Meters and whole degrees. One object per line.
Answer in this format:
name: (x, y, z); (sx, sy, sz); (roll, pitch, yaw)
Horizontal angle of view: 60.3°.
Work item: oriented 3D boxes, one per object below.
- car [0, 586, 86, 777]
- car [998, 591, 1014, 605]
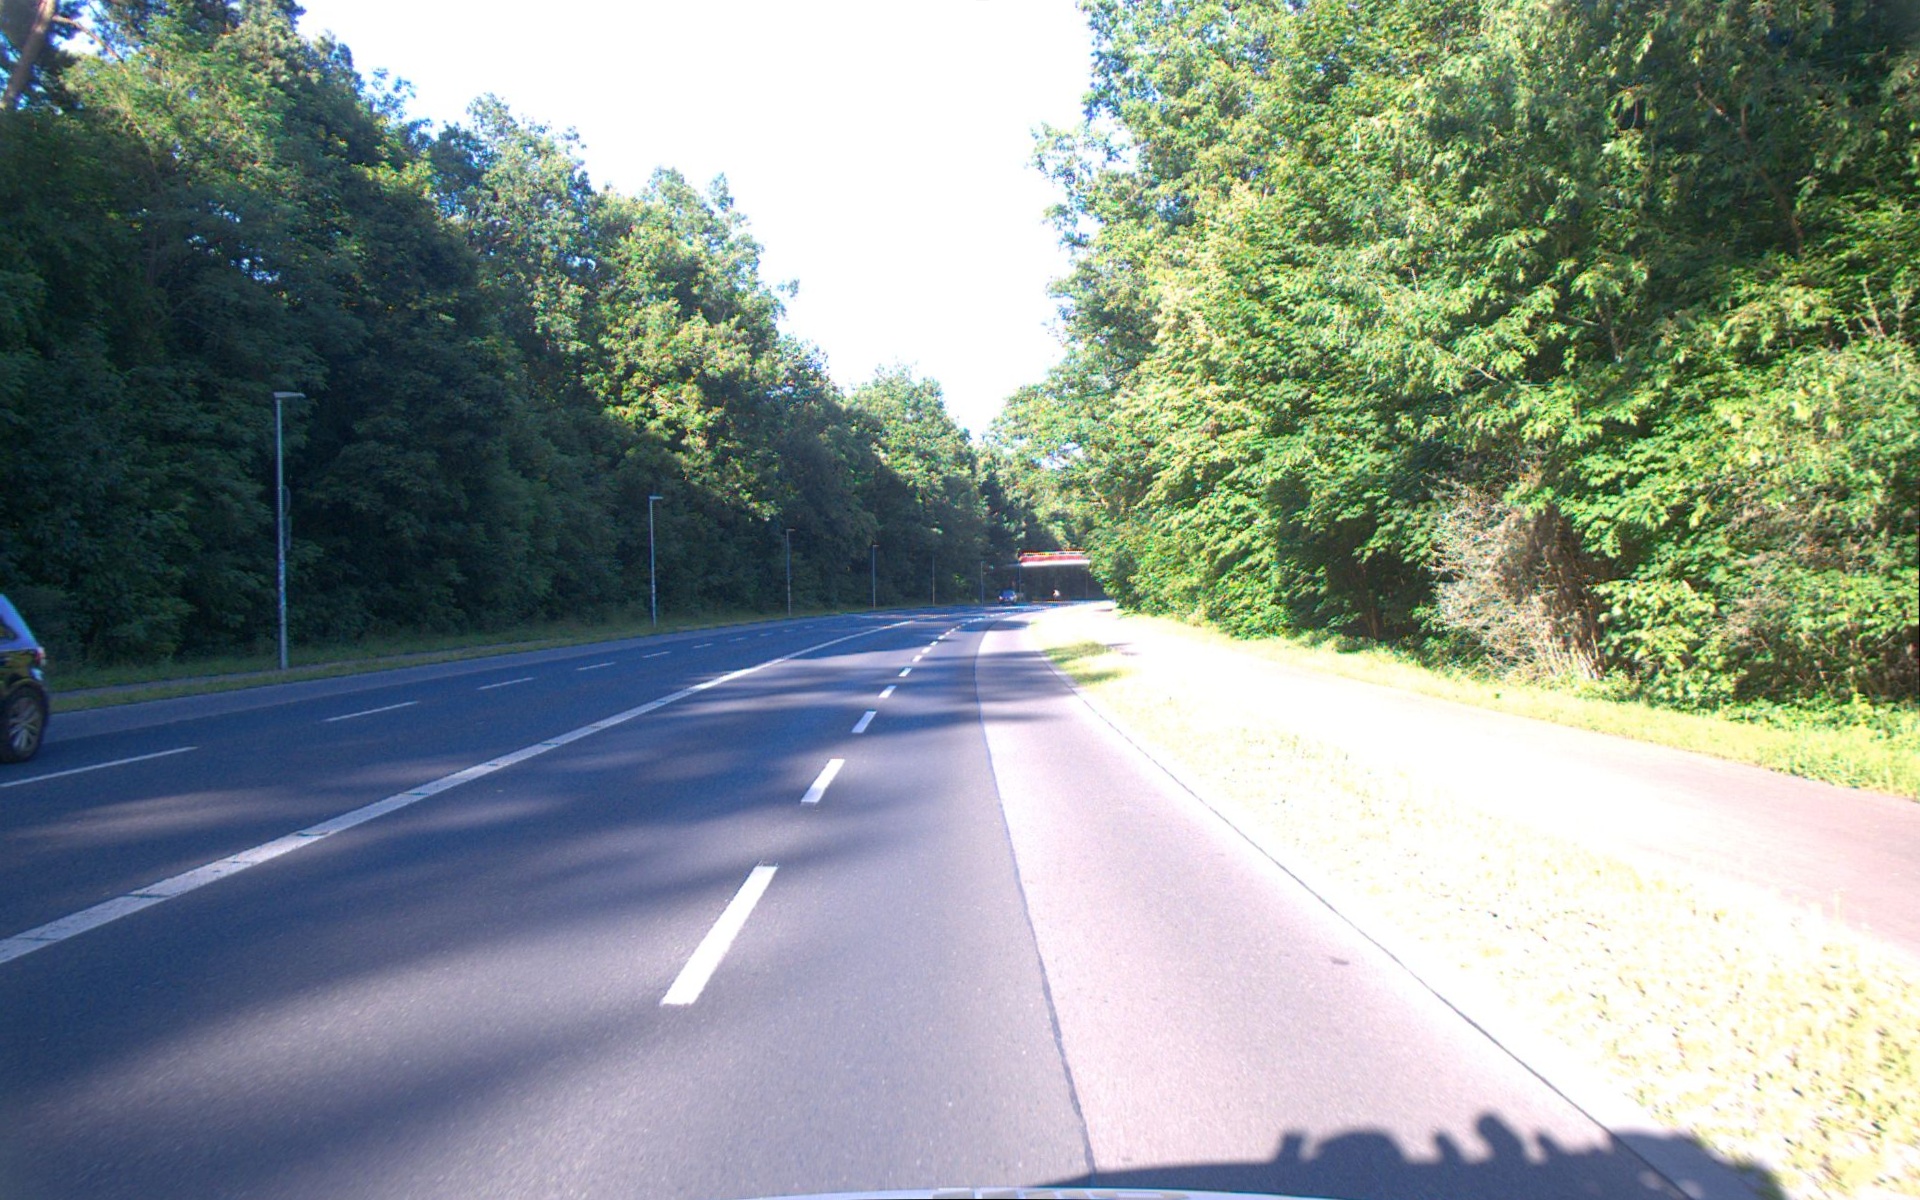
car: (-8.365, 0.643, 12.206); (1.623, 1.506, 4.172); (0, 0, 0)
car: (5.590, -0.272, 199.869); (1.770, 1.692, 4.523); (0, 0, 3)
